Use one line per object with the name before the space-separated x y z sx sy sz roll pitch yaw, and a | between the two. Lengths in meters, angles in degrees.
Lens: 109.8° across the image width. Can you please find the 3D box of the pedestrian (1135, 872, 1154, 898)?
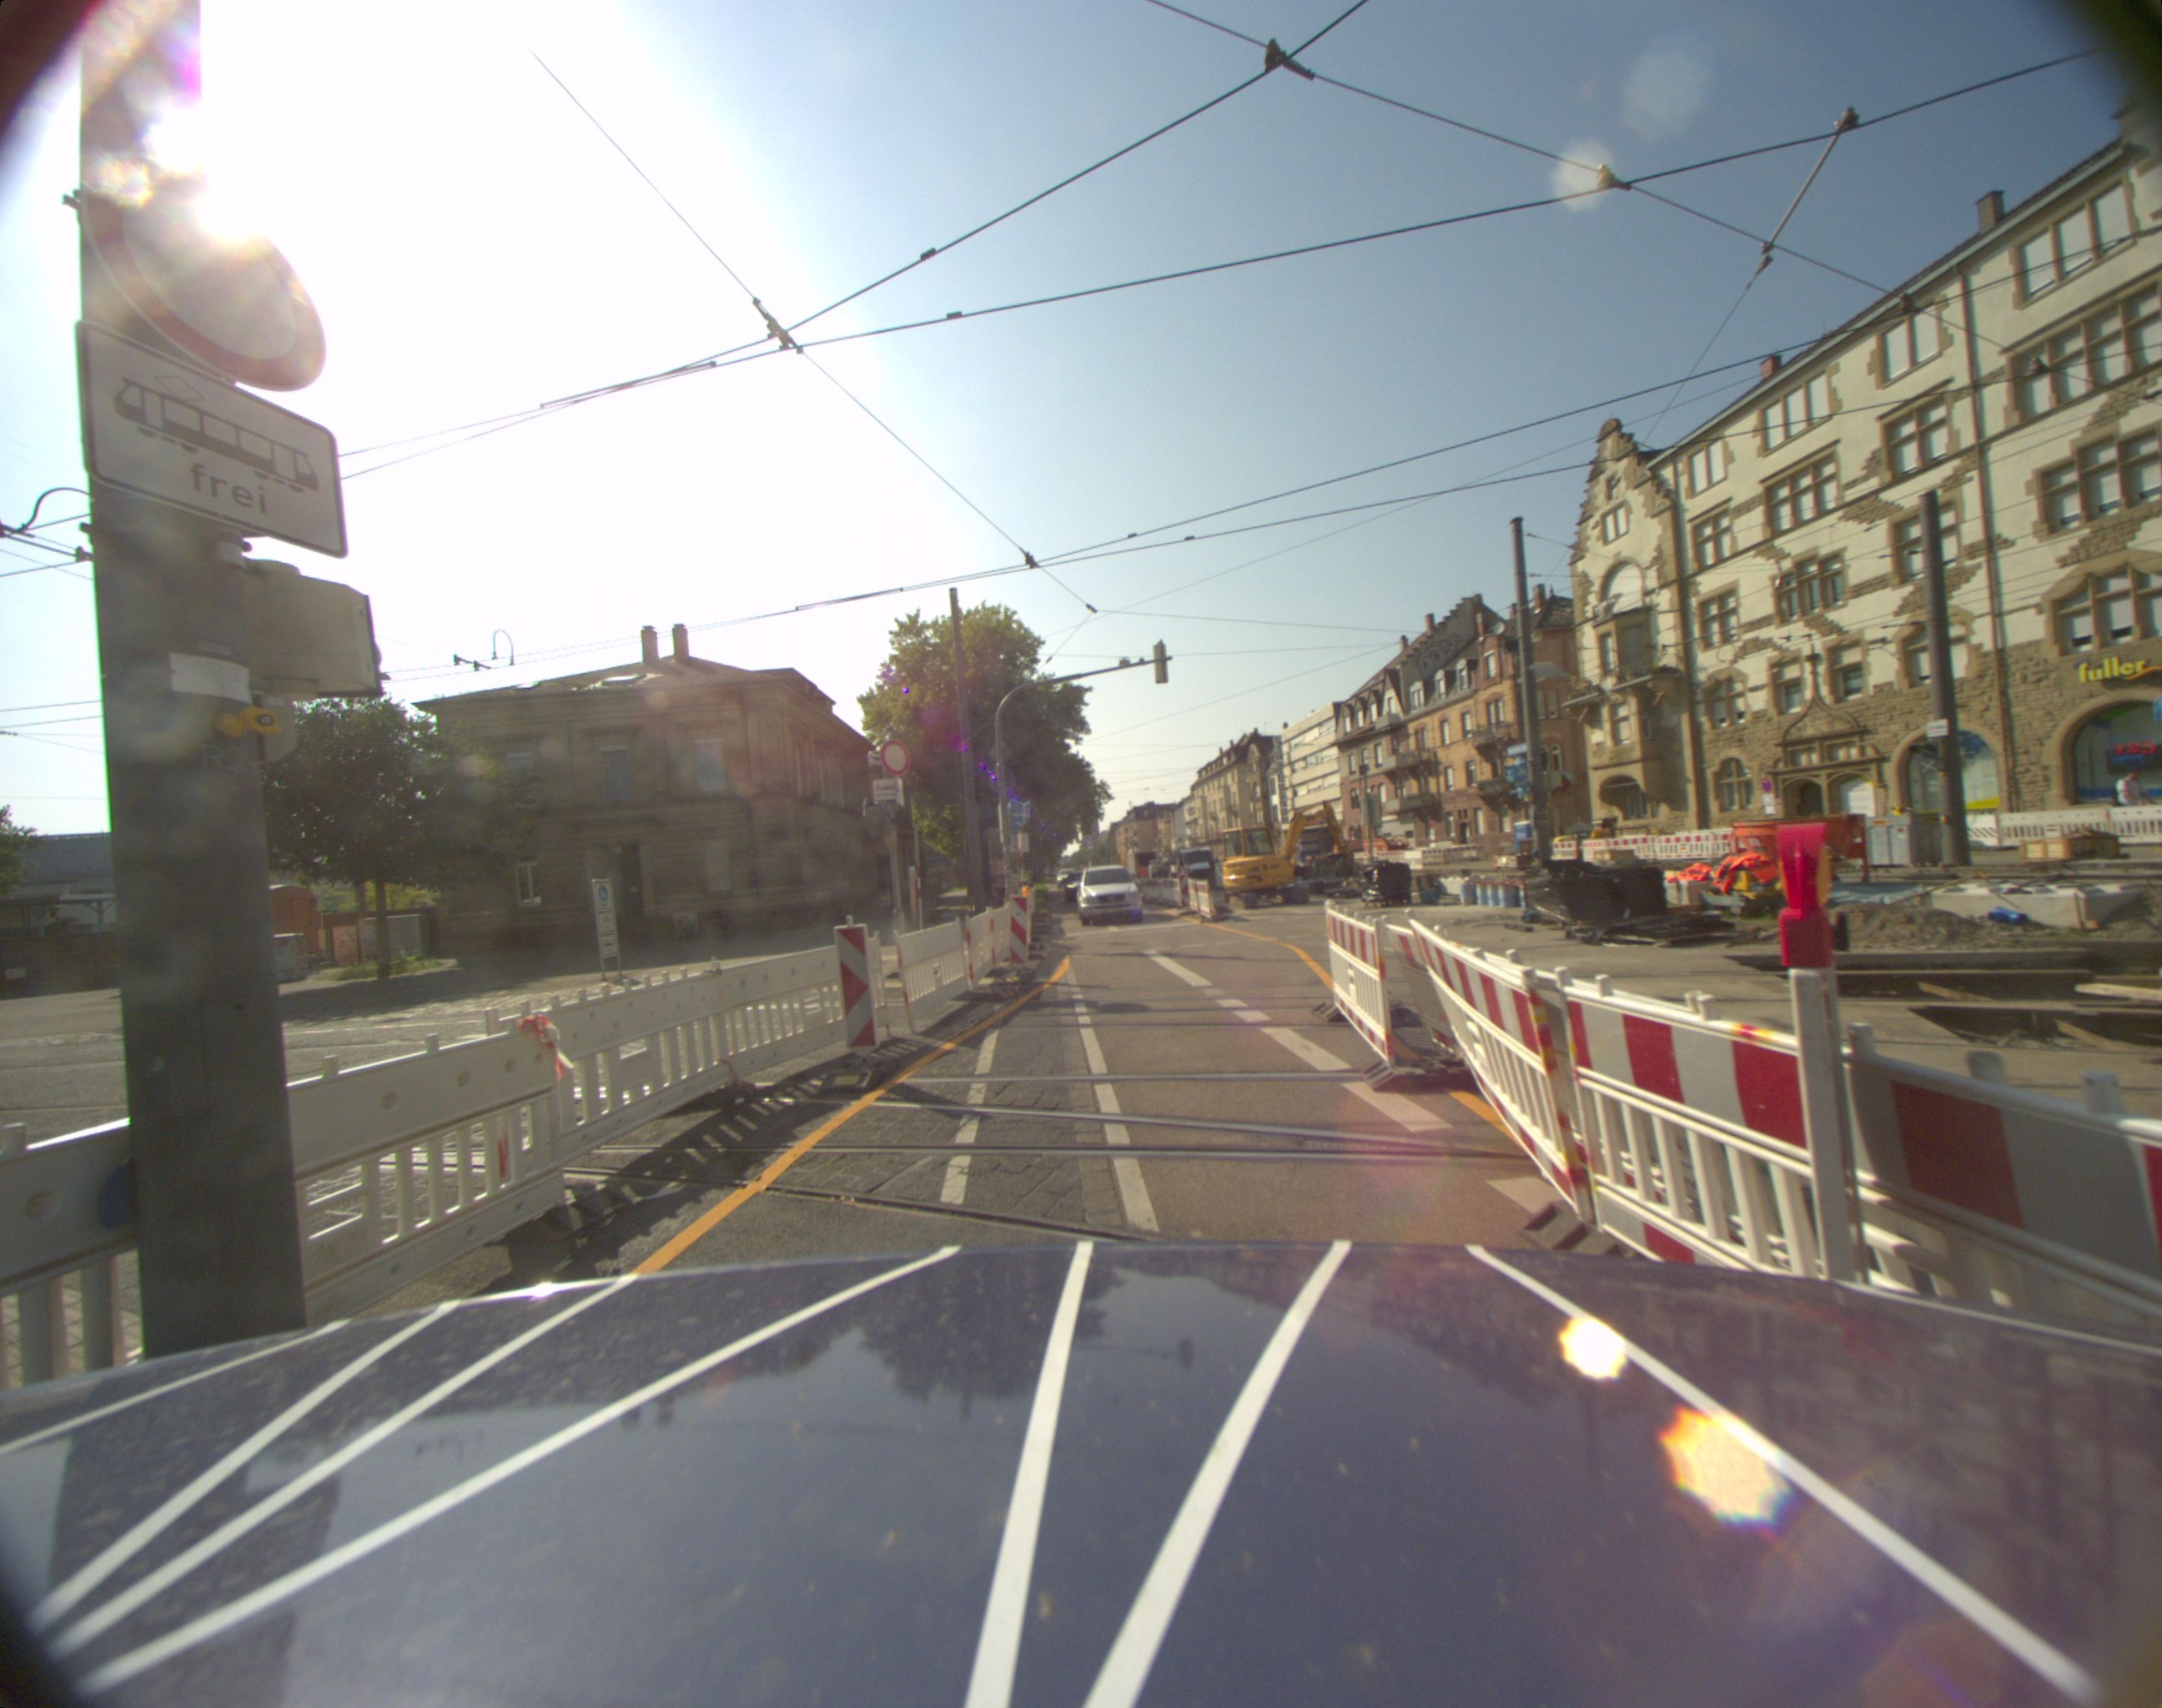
pedestrian | 4.419 2.116 52.631 1.034 1.700 1.095 -4 -1 -4

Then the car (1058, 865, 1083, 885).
car | -1.064 1.989 70.994 1.999 1.685 5.225 -4 -2 -3

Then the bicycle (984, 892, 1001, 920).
bicycle | -3.311 1.927 28.348 0.411 0.981 1.376 -5 -1 -1

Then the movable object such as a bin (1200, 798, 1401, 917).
movable object such as a bin | 7.323 0.077 25.226 6.168 3.325 2.114 -5 -1 -22

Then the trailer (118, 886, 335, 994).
trailer | -28.954 2.839 25.967 4.000 3.051 2.554 -4 1 -11

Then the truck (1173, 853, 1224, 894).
truck | 7.181 1.161 47.208 2.163 2.208 7.052 -4 -1 2

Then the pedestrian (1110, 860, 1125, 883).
pedestrian | 3.419 1.660 71.909 0.910 2.002 0.913 -7 0 24

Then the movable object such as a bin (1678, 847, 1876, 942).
movable object such as a bin | 9.812 0.535 10.875 0.752 1.162 2.292 -5 -1 4

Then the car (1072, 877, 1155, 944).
car | 0.879 1.639 23.742 1.999 1.685 5.225 -4 -1 -3

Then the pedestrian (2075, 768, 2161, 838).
pedestrian | 28.019 -1.360 20.445 0.917 1.730 1.146 -5 0 -3
